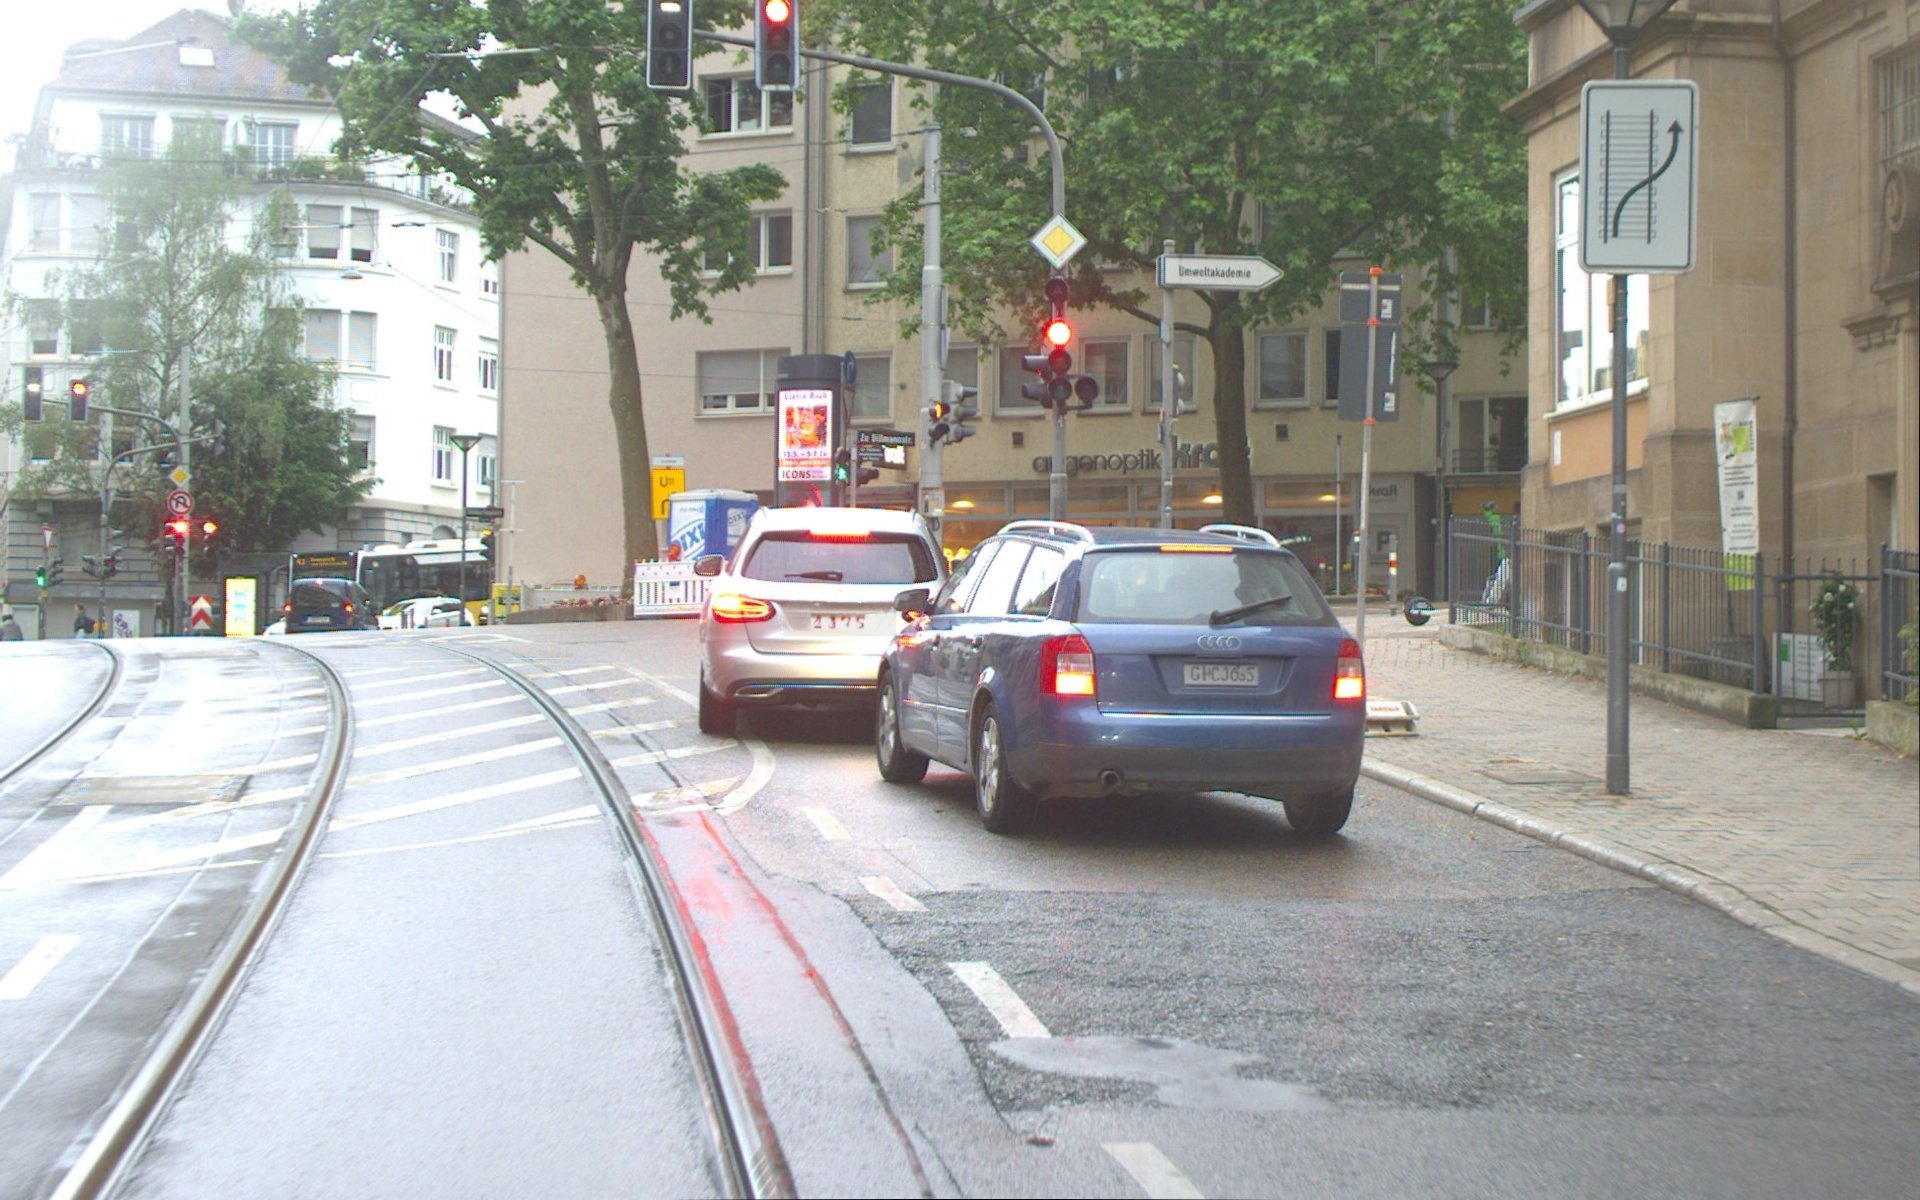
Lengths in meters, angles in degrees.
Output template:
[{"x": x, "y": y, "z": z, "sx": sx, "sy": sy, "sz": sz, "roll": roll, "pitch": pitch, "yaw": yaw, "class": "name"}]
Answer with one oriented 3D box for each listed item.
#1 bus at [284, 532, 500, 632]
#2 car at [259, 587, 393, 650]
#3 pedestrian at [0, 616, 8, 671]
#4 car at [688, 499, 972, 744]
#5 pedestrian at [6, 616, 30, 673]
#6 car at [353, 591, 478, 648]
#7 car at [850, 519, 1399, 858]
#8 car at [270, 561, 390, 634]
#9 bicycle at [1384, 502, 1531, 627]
[{"x": -17.403, "y": -0.628, "z": 106.004, "sx": 2.857, "sy": 2.851, "sz": 8.726, "roll": 1, "pitch": 2, "yaw": 18, "class": "bus"}, {"x": -17.533, "y": 0.489, "z": 95.269, "sx": 1.796, "sy": 1.609, "sz": 3.996, "roll": 1, "pitch": 2, "yaw": 22, "class": "car"}, {"x": -29.582, "y": 1.316, "z": 105.551, "sx": 0.648, "sy": 1.655, "sz": 0.650, "roll": 1, "pitch": 1, "yaw": -16, "class": "pedestrian"}, {"x": -0.901, "y": 0.083, "z": 22.990, "sx": 1.710, "sy": 1.451, "sz": 3.553, "roll": 2, "pitch": 2, "yaw": -3, "class": "car"}, {"x": -28.163, "y": 1.330, "z": 102.757, "sx": 0.648, "sy": 1.655, "sz": 0.650, "roll": 1, "pitch": 1, "yaw": -16, "class": "pedestrian"}, {"x": -15.779, "y": 0.539, "z": 99.849, "sx": 1.796, "sy": 1.505, "sz": 3.996, "roll": 1, "pitch": 2, "yaw": 22, "class": "car"}, {"x": 0.679, "y": 0.354, "z": 17.176, "sx": 1.710, "sy": 1.410, "sz": 4.038, "roll": 1, "pitch": 2, "yaw": -12, "class": "car"}, {"x": -14.468, "y": -0.079, "z": 79.144, "sx": 1.794, "sy": 1.505, "sz": 4.000, "roll": -2, "pitch": 2, "yaw": 3, "class": "car"}, {"x": 4.830, "y": -0.349, "z": 33.423, "sx": 1.300, "sy": 1.169, "sz": 0.526, "roll": -2, "pitch": 2, "yaw": -8, "class": "bicycle"}]
